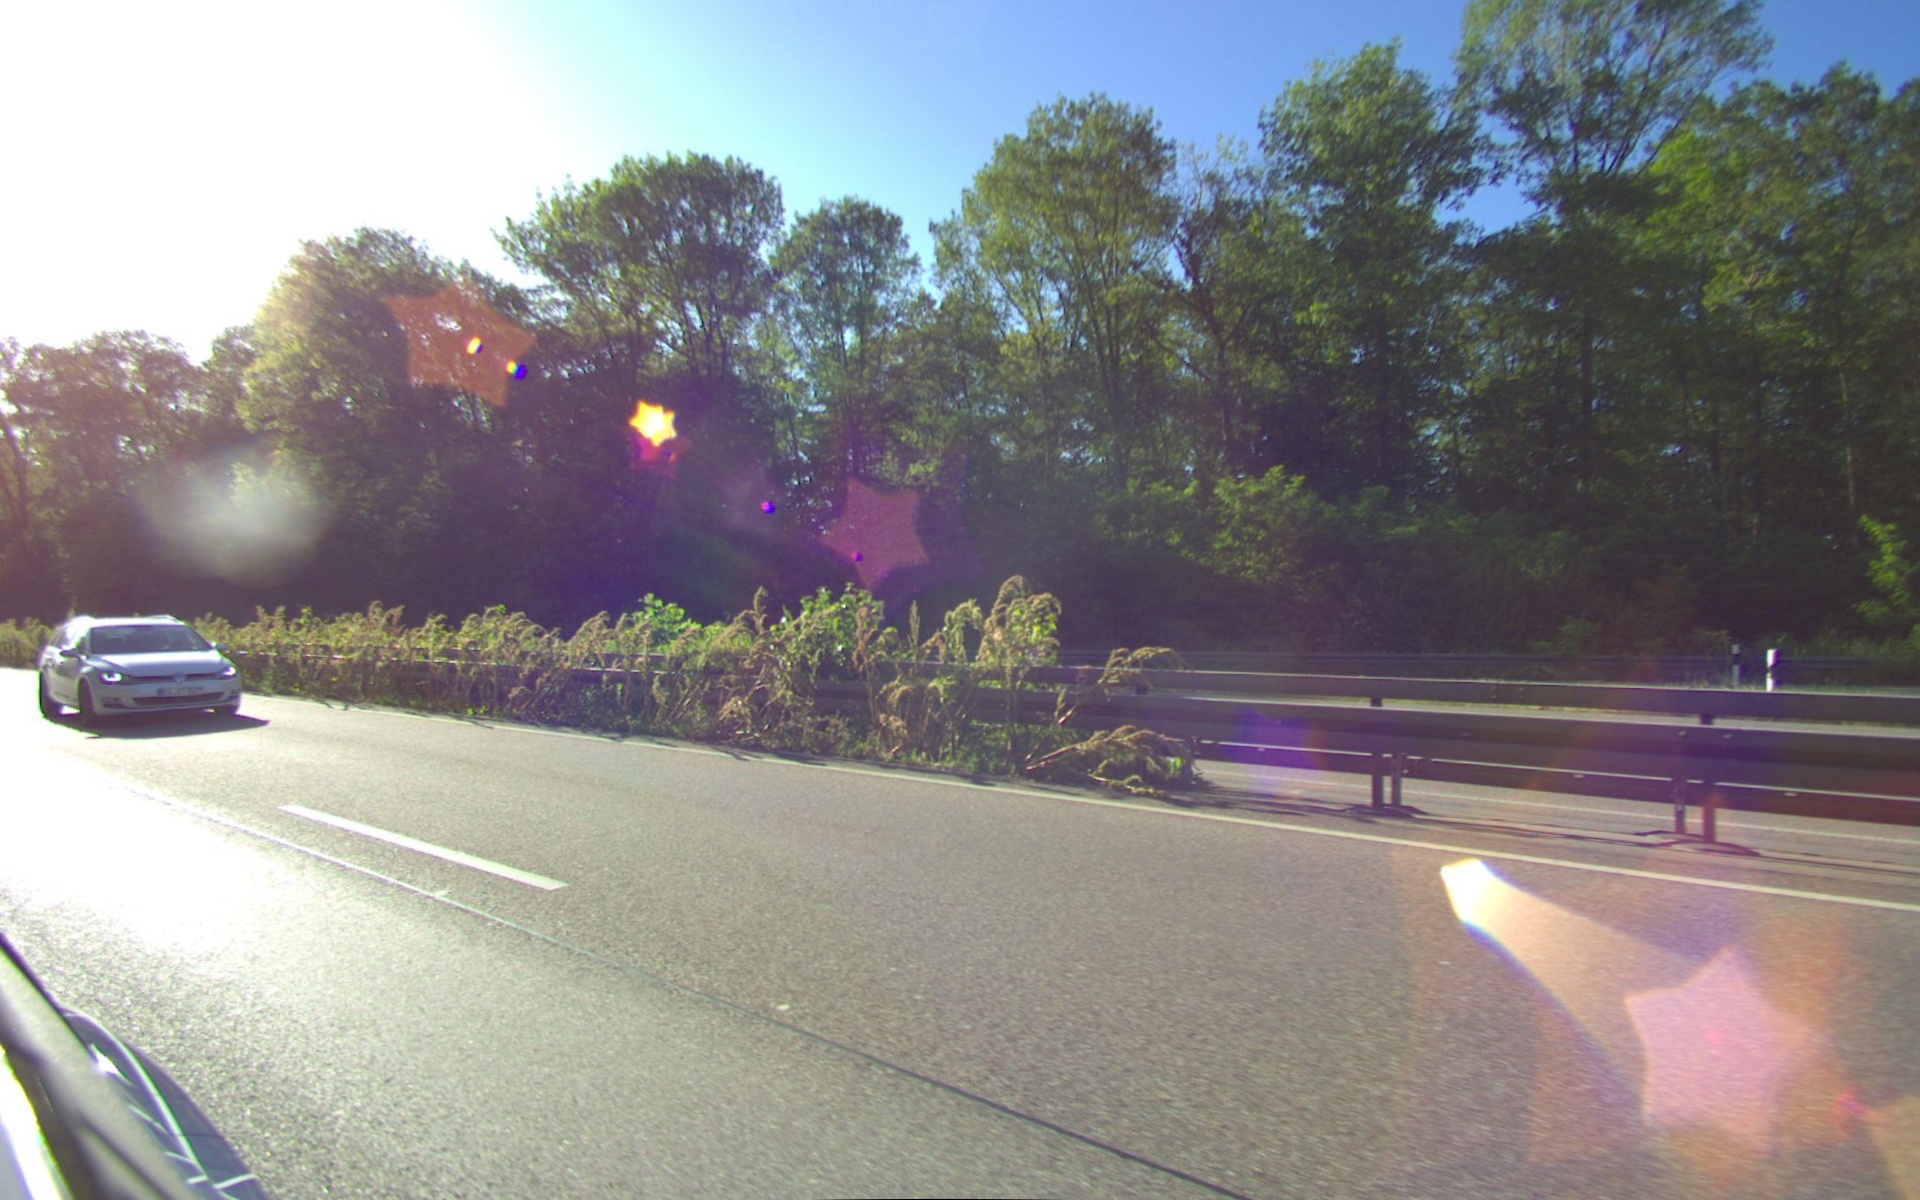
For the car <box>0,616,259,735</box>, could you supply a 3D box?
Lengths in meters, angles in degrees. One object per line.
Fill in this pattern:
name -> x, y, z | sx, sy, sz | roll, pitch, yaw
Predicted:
car -> -12.843, 1.051, 15.443 | 5.590, 1.519, 1.911 | -2, -1, 37
